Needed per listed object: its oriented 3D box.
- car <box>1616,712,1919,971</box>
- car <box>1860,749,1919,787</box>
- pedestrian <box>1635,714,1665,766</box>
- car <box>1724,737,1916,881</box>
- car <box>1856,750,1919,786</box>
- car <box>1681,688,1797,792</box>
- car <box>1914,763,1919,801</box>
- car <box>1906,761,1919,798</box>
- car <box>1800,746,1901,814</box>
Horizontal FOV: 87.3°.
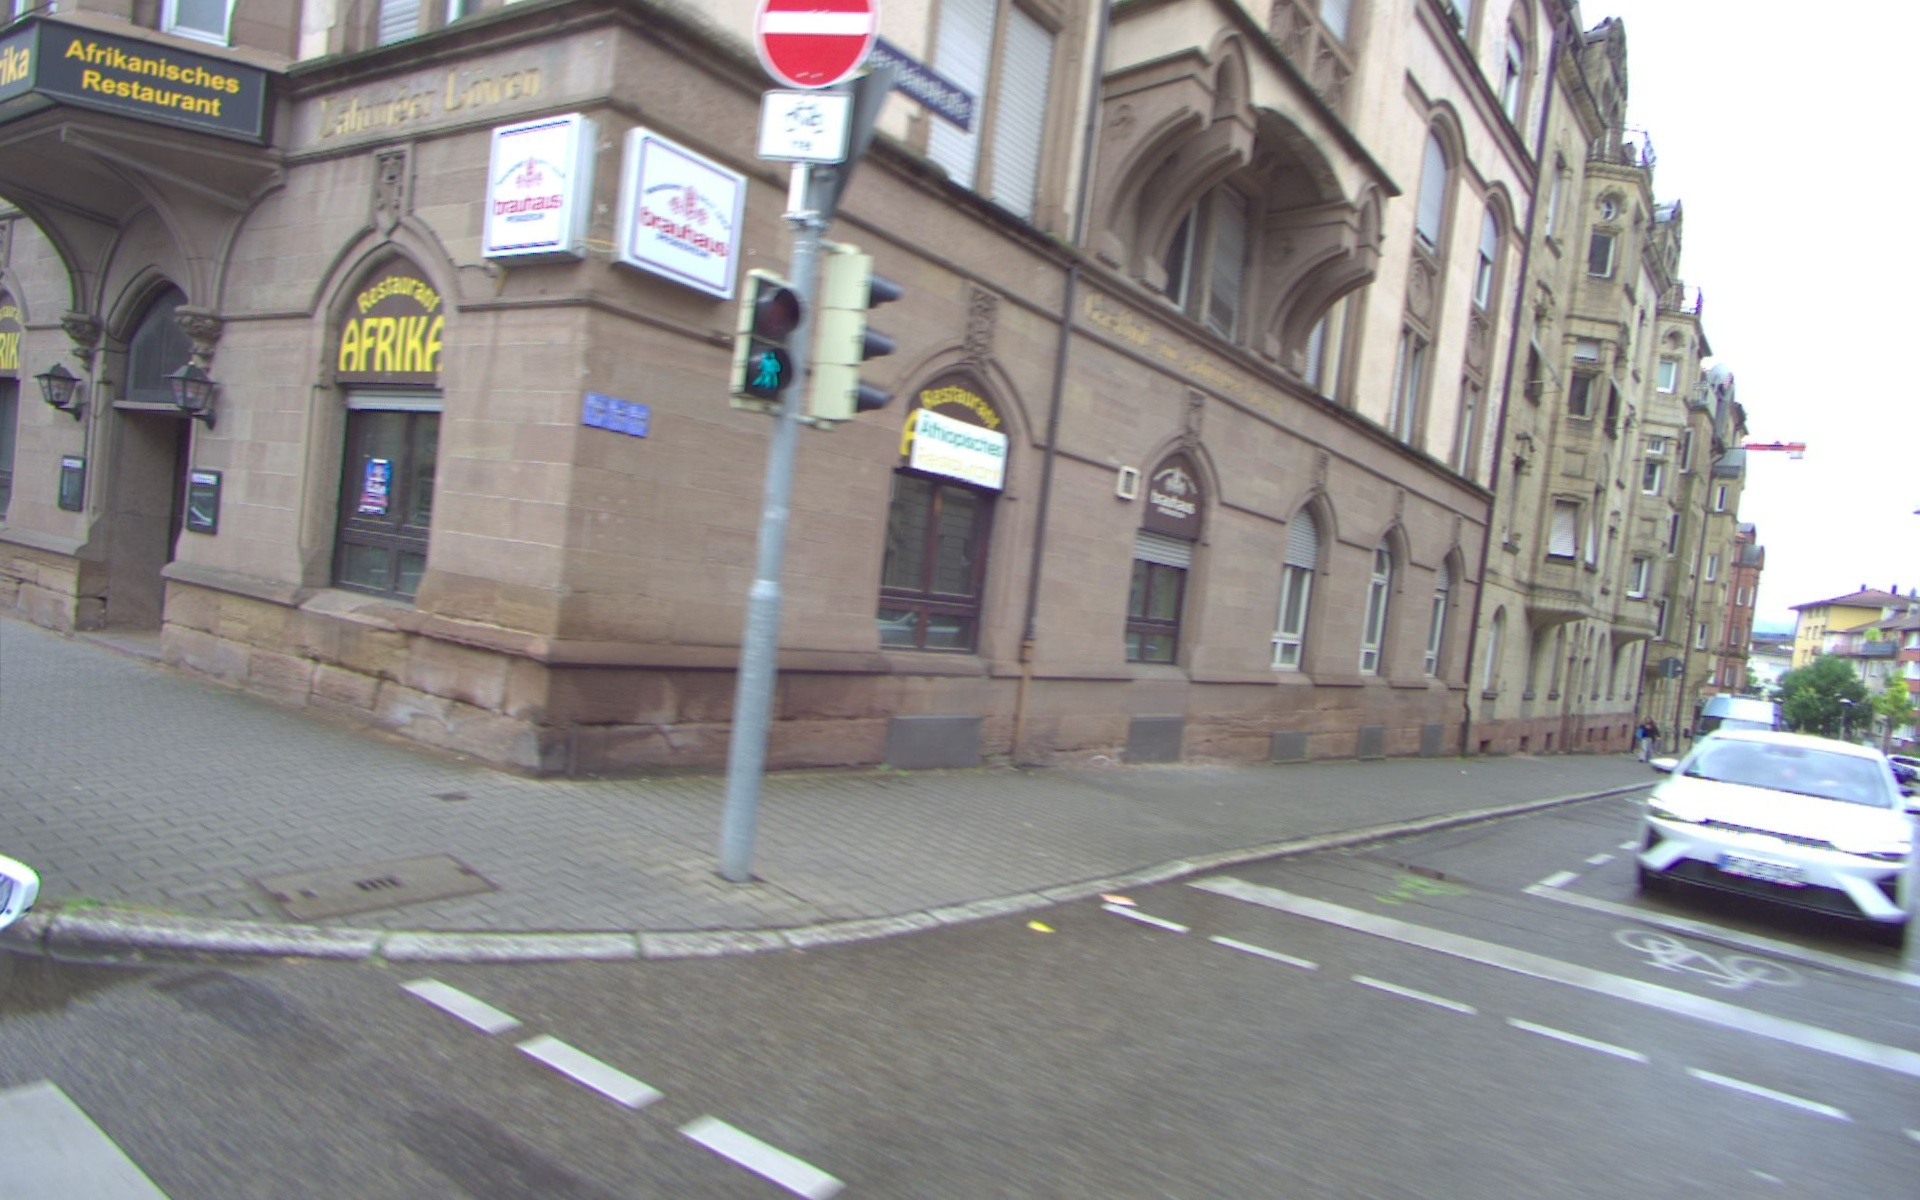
[{"bbox_3d":[7.687,2.008,9.260,1.818,1.527,4.551,7,-2,44],"label":"car"},{"bbox_3d":[55.497,9.950,58.966,3.948,1.740,1.810,6,-1,44],"label":"car"},{"bbox_3d":[23.309,4.717,33.982,0.651,1.664,0.566,6,-1,37],"label":"pedestrian"},{"bbox_3d":[11.950,2.782,14.010,1.703,1.442,4.063,6,-2,42],"label":"car"},{"bbox_3d":[59.303,10.651,63.399,1.690,1.707,3.770,7,-1,-22],"label":"car"},{"bbox_3d":[23.256,4.160,29.939,2.097,2.563,5.448,6,-2,43],"label":"car"},{"bbox_3d":[41.841,7.899,42.610,1.648,1.588,3.916,8,-1,40],"label":"car"},{"bbox_3d":[44.639,8.342,45.971,1.648,1.588,3.916,8,-1,40],"label":"car"},{"bbox_3d":[22.783,4.550,25.797,1.740,1.319,3.715,6,-2,42],"label":"car"}]
